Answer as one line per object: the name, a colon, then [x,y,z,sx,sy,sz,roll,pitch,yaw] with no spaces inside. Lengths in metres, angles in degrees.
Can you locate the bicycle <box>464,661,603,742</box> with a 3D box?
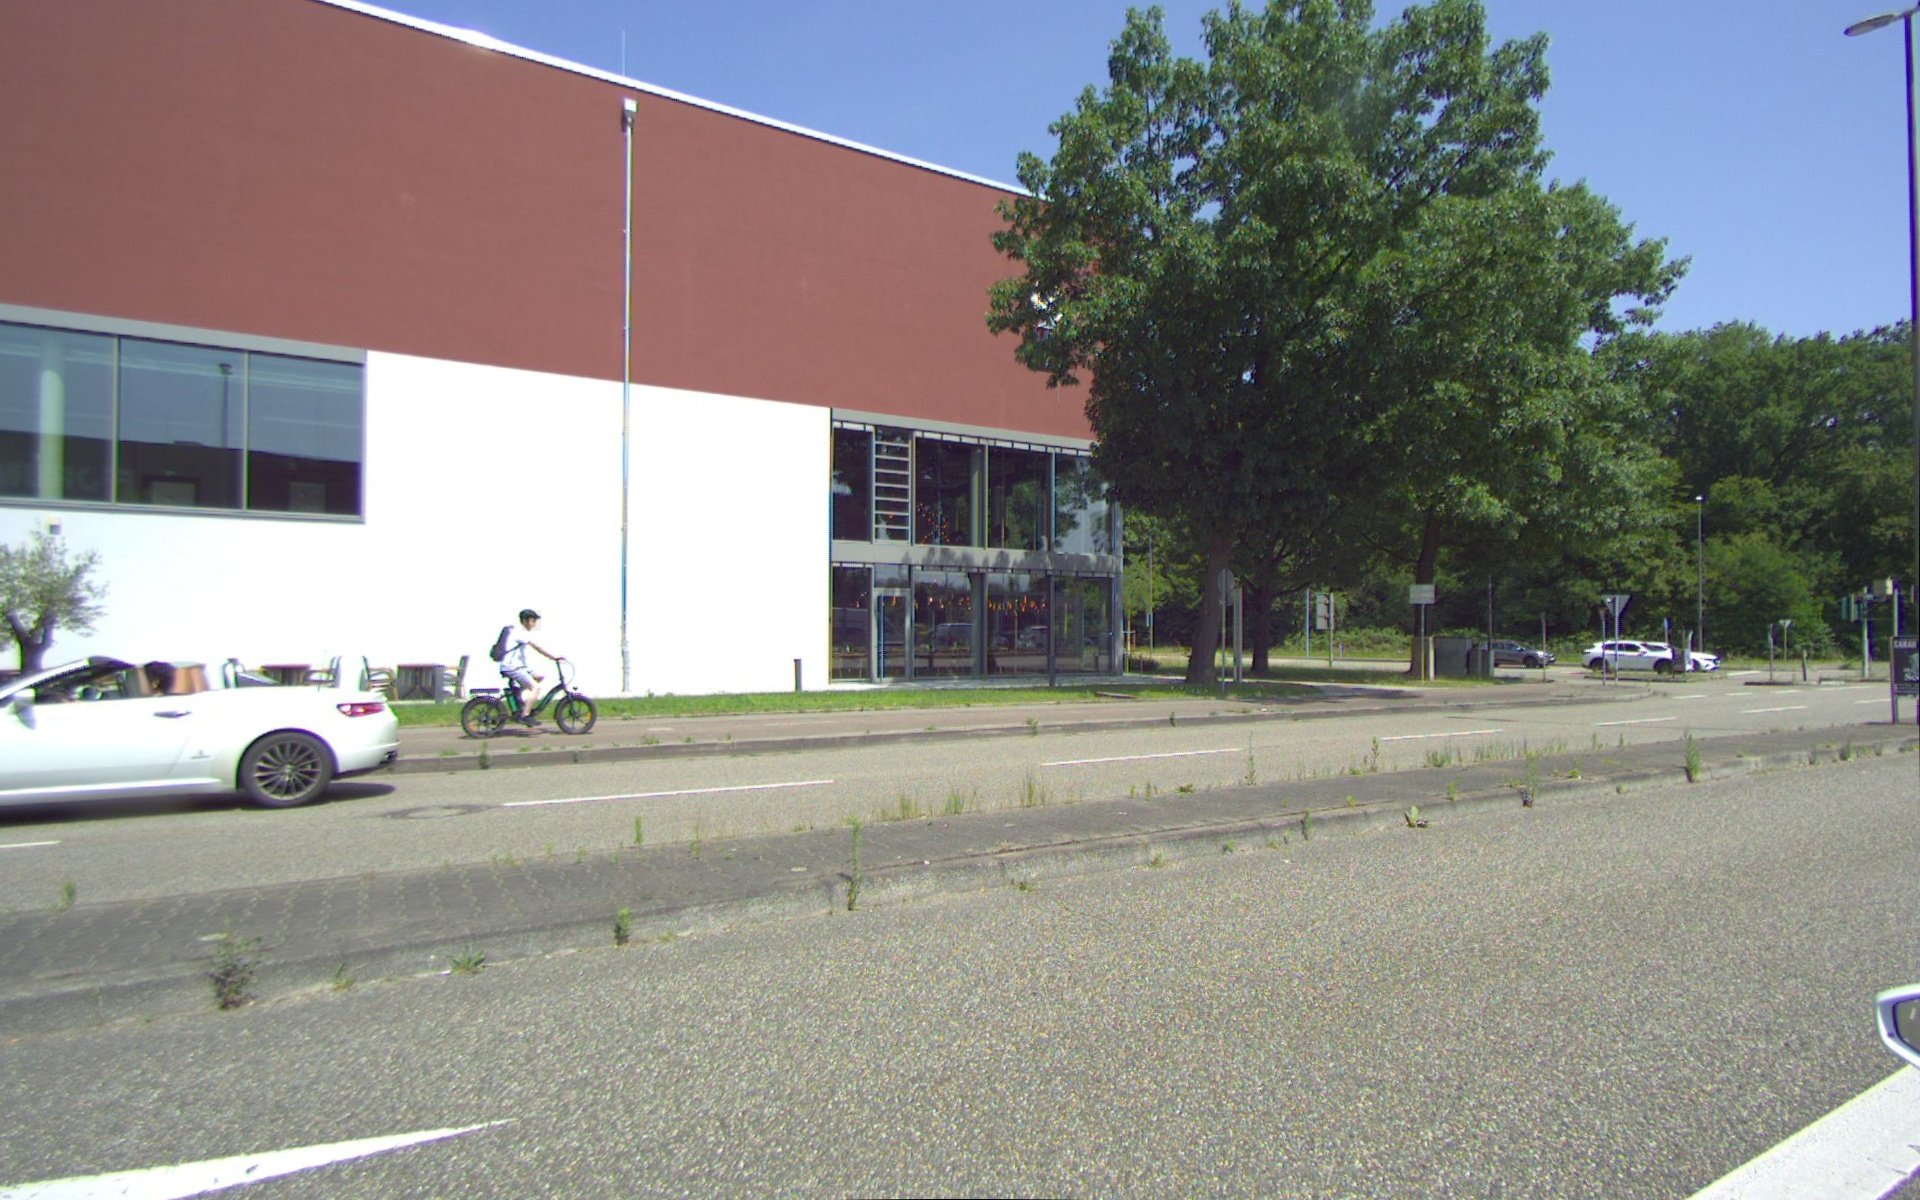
bicycle: [-5.677,1.328,13.408,1.640,0.982,0.614,1,-2,-30]

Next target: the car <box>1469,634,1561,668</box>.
car: [32.194,2.944,58.344,1.796,1.704,4.332,2,-1,-41]

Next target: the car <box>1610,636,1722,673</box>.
car: [36.559,2.849,52.102,1.794,1.703,4.340,2,-6,-37]

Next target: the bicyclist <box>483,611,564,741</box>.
bicyclist: [-5.802,0.989,13.355,0.913,1.652,0.605,1,-2,-30]

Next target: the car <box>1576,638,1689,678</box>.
car: [33.411,2.870,49.998,1.794,1.704,4.338,2,0,-37]

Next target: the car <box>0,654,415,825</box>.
car: [-7.187,1.135,8.721,4.252,1.279,1.710,1,-4,-31]
